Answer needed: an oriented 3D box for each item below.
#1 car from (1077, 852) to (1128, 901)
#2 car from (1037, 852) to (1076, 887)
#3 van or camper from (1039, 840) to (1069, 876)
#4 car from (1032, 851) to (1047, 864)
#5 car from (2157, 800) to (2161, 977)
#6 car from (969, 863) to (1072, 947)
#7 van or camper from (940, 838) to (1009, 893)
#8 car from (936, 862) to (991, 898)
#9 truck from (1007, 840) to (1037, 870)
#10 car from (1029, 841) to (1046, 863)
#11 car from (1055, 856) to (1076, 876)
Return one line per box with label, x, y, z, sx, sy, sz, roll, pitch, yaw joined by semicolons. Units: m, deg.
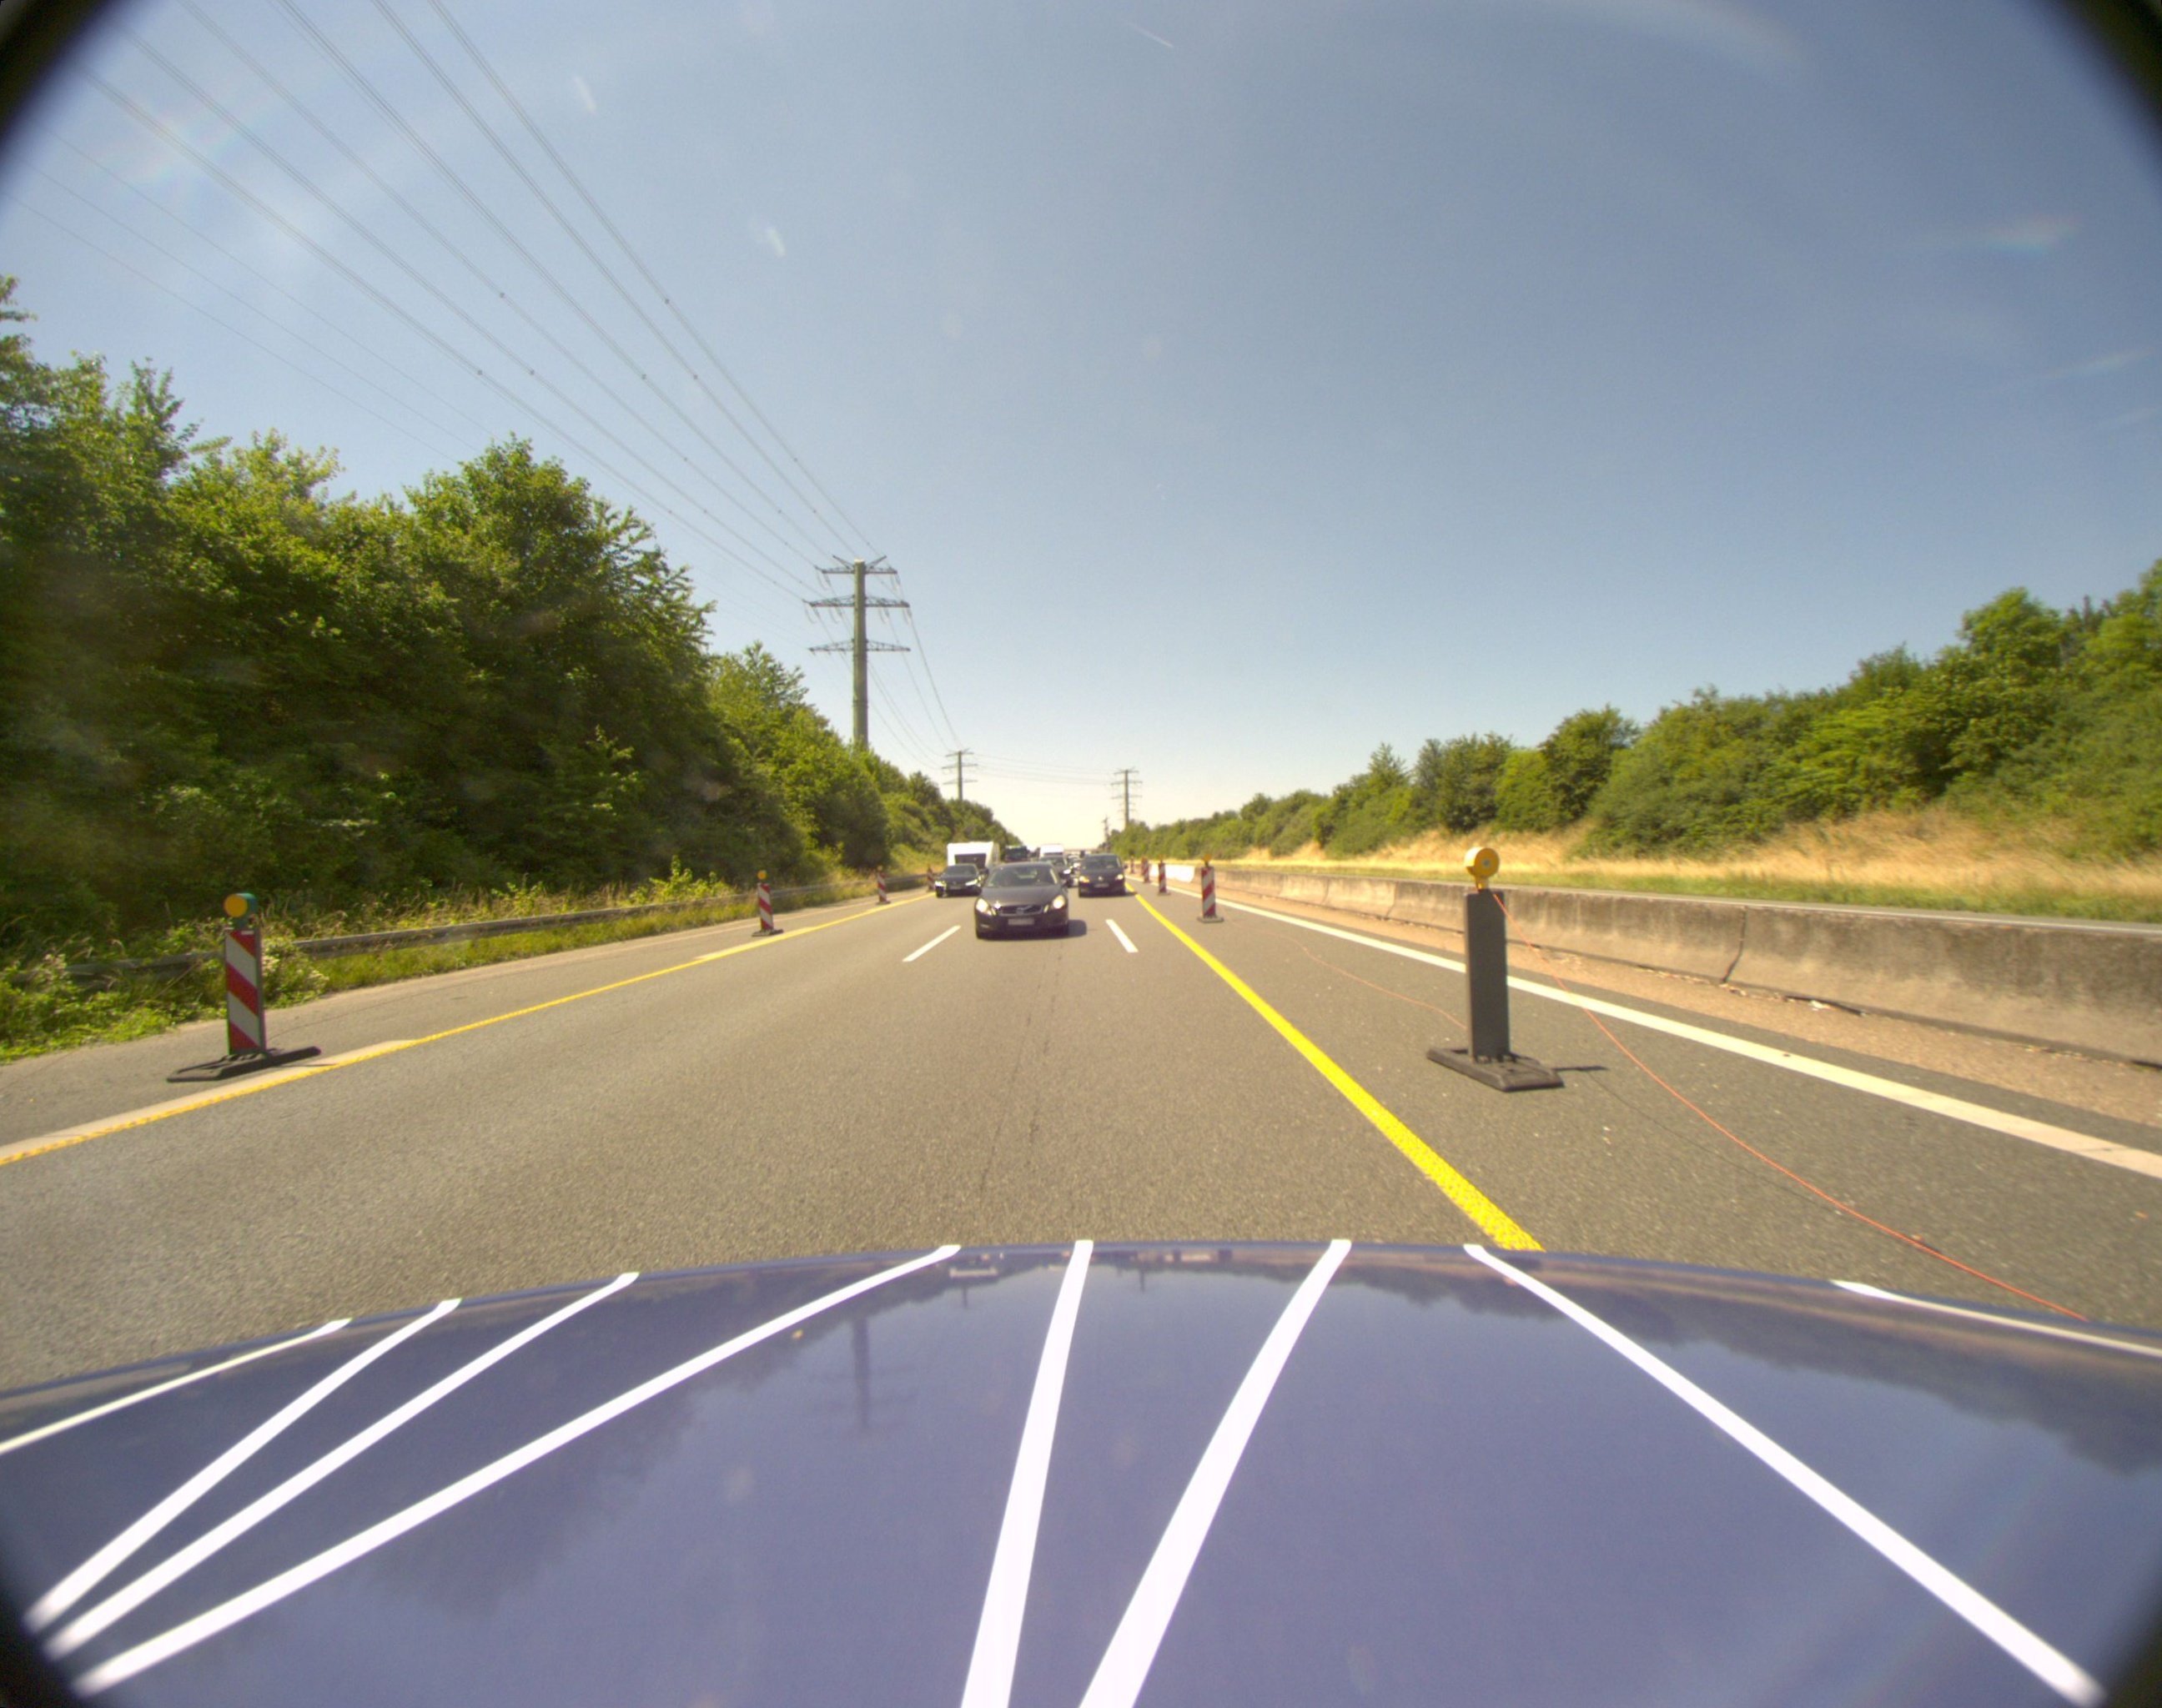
car;0.795;0.772;28.707;1.675;1.619;4.691;-4;0;1
car;-1.195;0.766;39.289;1.744;1.658;4.157;-2;0;1
van or camper;-1.984;0.314;57.778;1.998;2.604;5.629;-1;0;1
car;-6.025;0.517;109.581;1.850;1.810;3.925;-3;0;0
car;11.817;0.343;4.967;1.871;1.782;5.454;-1;0;0
car;-1.121;0.957;15.906;1.799;1.433;4.000;-2;0;0
van or camper;-5.458;0.536;40.398;2.432;2.549;8.416;-2;0;0
car;-5.187;1.110;34.059;1.801;1.399;4.209;-2;0;0
truck;-6.566;0.079;86.068;2.431;3.122;7.647;-4;0;1
car;-8.012;-0.360;140.556;2.397;3.779;10.272;-3;0;0
car;-1.371;1.039;67.798;1.745;1.658;4.156;-2;0;-2
